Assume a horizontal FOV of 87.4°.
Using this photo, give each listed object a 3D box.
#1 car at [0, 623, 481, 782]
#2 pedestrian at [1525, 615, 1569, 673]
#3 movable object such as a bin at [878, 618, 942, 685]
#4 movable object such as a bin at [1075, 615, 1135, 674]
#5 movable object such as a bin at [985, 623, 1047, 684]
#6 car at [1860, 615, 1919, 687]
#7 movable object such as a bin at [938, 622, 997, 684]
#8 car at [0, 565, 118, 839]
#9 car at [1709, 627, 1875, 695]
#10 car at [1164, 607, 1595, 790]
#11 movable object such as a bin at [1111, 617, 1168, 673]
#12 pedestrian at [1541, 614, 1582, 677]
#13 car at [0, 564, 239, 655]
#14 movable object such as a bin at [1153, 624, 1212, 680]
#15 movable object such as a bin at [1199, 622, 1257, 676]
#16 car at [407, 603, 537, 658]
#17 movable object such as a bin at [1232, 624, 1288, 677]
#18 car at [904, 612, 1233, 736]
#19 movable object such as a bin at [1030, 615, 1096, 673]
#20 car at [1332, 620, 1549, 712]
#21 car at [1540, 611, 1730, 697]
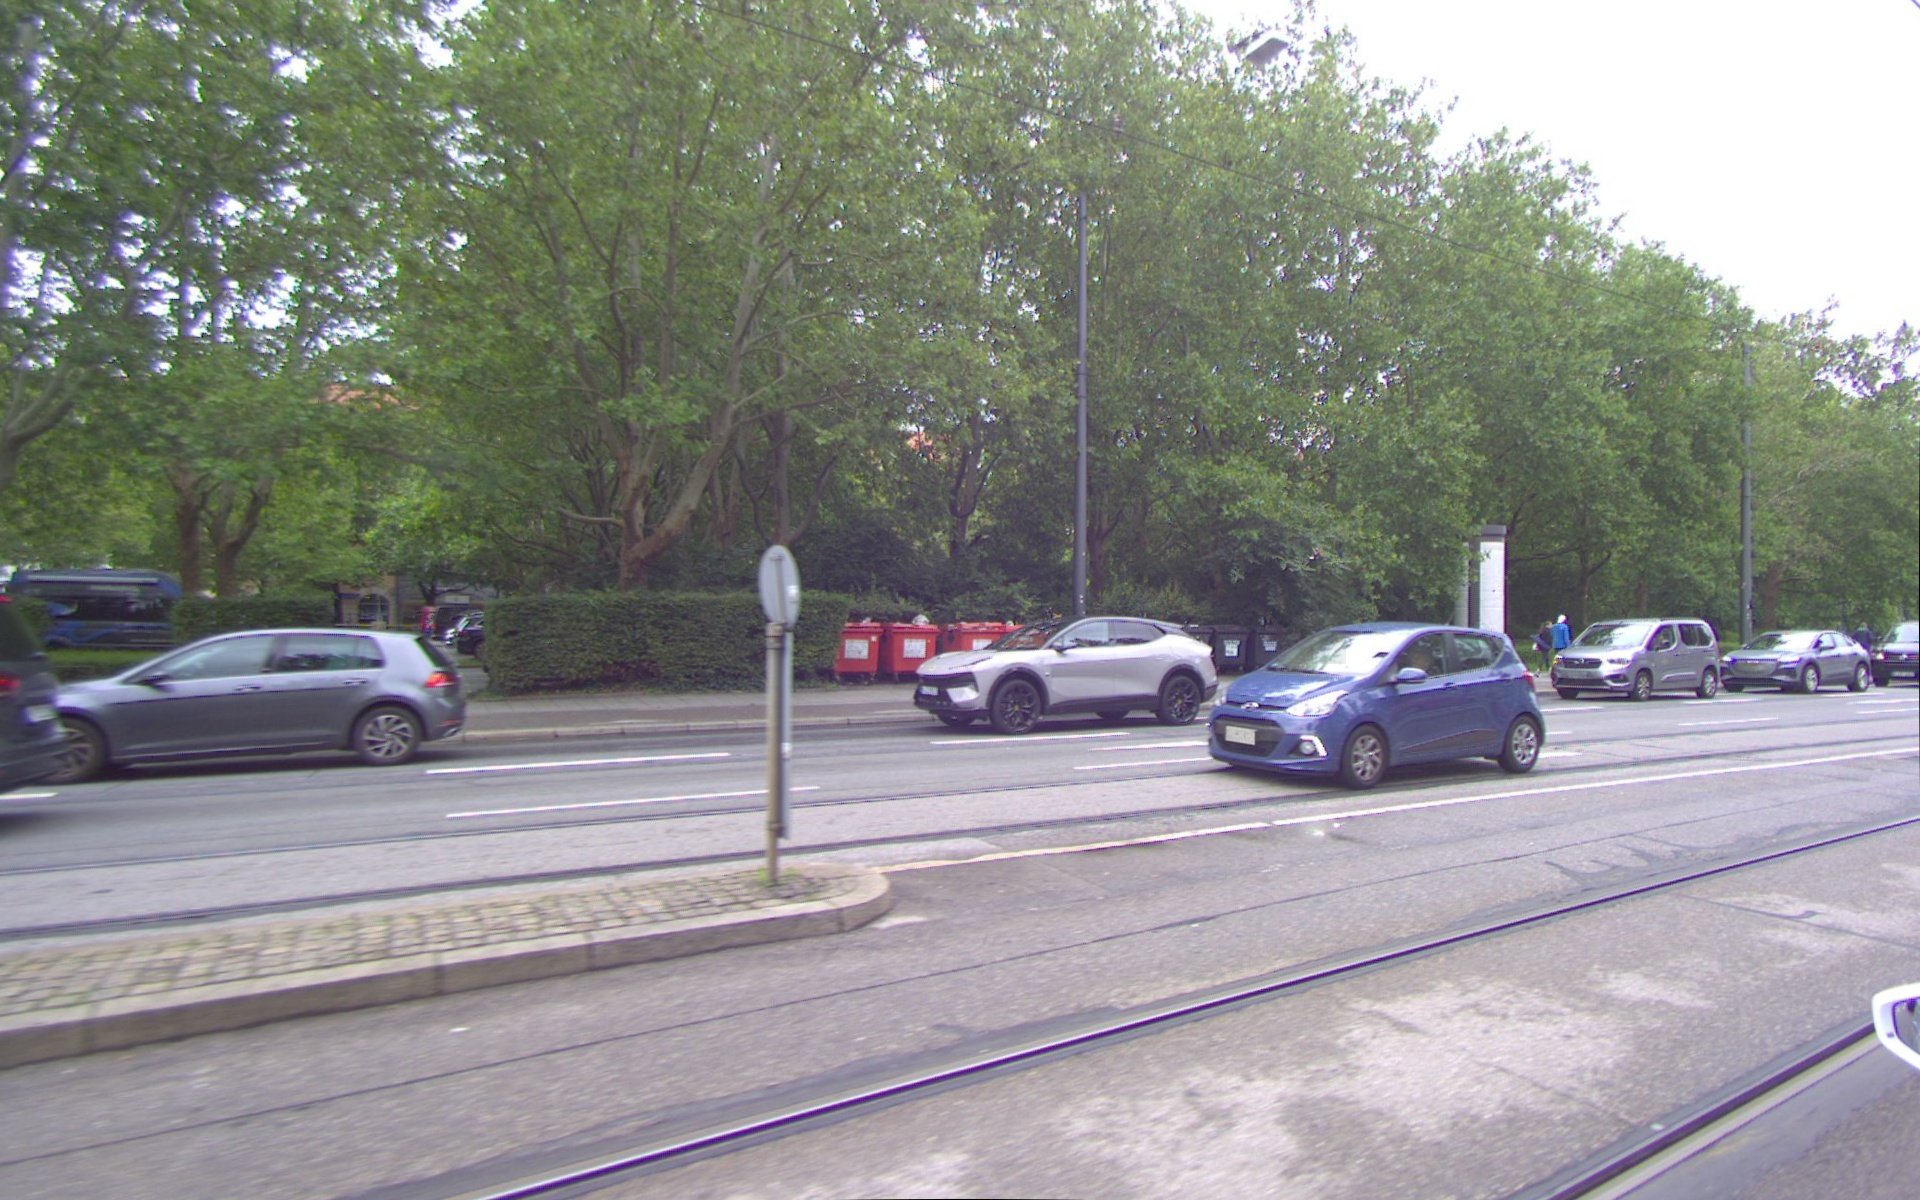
[{"bbox_3d":[-7.349,0.965,10.614,4.048,1.399,1.814,1,-1,-29],"label":"car"},{"bbox_3d":[17.524,1.299,29.973,0.973,1.707,0.663,-1,1,-20],"label":"pedestrian"},{"bbox_3d":[-1.127,1.149,22.620,1.071,1.371,0.928,1,4,-32],"label":"movable object such as a bin"},{"bbox_3d":[3.645,1.099,25.241,1.071,1.371,0.929,1,4,-32],"label":"movable object such as a bin"},{"bbox_3d":[1.326,1.257,23.881,1.116,1.371,0.929,1,2,-32],"label":"movable object such as a bin"},{"bbox_3d":[29.039,1.502,29.889,4.976,2.017,1.792,1,-2,-28],"label":"car"},{"bbox_3d":[0.176,1.201,23.166,1.002,1.371,0.929,1,0,-32],"label":"movable object such as a bin"},{"bbox_3d":[-8.375,0.601,5.980,4.830,1.705,1.814,1,-1,-29],"label":"car"},{"bbox_3d":[21.796,1.554,26.298,4.531,1.656,1.792,1,-2,-28],"label":"car"},{"bbox_3d":[4.350,0.910,10.288,4.300,1.542,1.792,2,-2,-28],"label":"car"},{"bbox_3d":[4.619,1.146,25.854,1.071,1.371,0.929,1,2,-32],"label":"movable object such as a bin"},{"bbox_3d":[17.638,1.342,29.464,0.806,1.813,0.663,1,0,-20],"label":"pedestrian"},{"bbox_3d":[-25.474,0.249,30.242,5.786,2.569,1.987,-1,0,-26],"label":"car"},{"bbox_3d":[5.850,1.355,26.441,1.146,1.371,0.929,1,2,-33],"label":"movable object such as a bin"},{"bbox_3d":[7.203,1.310,27.003,1.146,1.371,0.929,1,2,-33],"label":"movable object such as a bin"},{"bbox_3d":[-16.887,1.014,34.930,3.943,1.762,1.860,-1,0,-26],"label":"car"},{"bbox_3d":[8.266,1.370,27.711,1.146,1.371,0.929,1,2,-33],"label":"movable object such as a bin"},{"bbox_3d":[1.744,1.067,15.501,4.937,1.664,1.792,1,-2,-28],"label":"car"},{"bbox_3d":[2.524,1.064,24.635,1.264,1.371,0.929,1,1,-33],"label":"movable object such as a bin"},{"bbox_3d":[9.734,1.274,20.308,4.300,1.689,1.792,1,-2,-28],"label":"car"},{"bbox_3d":[15.469,1.210,22.986,4.417,1.803,1.792,1,-2,-28],"label":"car"}]
